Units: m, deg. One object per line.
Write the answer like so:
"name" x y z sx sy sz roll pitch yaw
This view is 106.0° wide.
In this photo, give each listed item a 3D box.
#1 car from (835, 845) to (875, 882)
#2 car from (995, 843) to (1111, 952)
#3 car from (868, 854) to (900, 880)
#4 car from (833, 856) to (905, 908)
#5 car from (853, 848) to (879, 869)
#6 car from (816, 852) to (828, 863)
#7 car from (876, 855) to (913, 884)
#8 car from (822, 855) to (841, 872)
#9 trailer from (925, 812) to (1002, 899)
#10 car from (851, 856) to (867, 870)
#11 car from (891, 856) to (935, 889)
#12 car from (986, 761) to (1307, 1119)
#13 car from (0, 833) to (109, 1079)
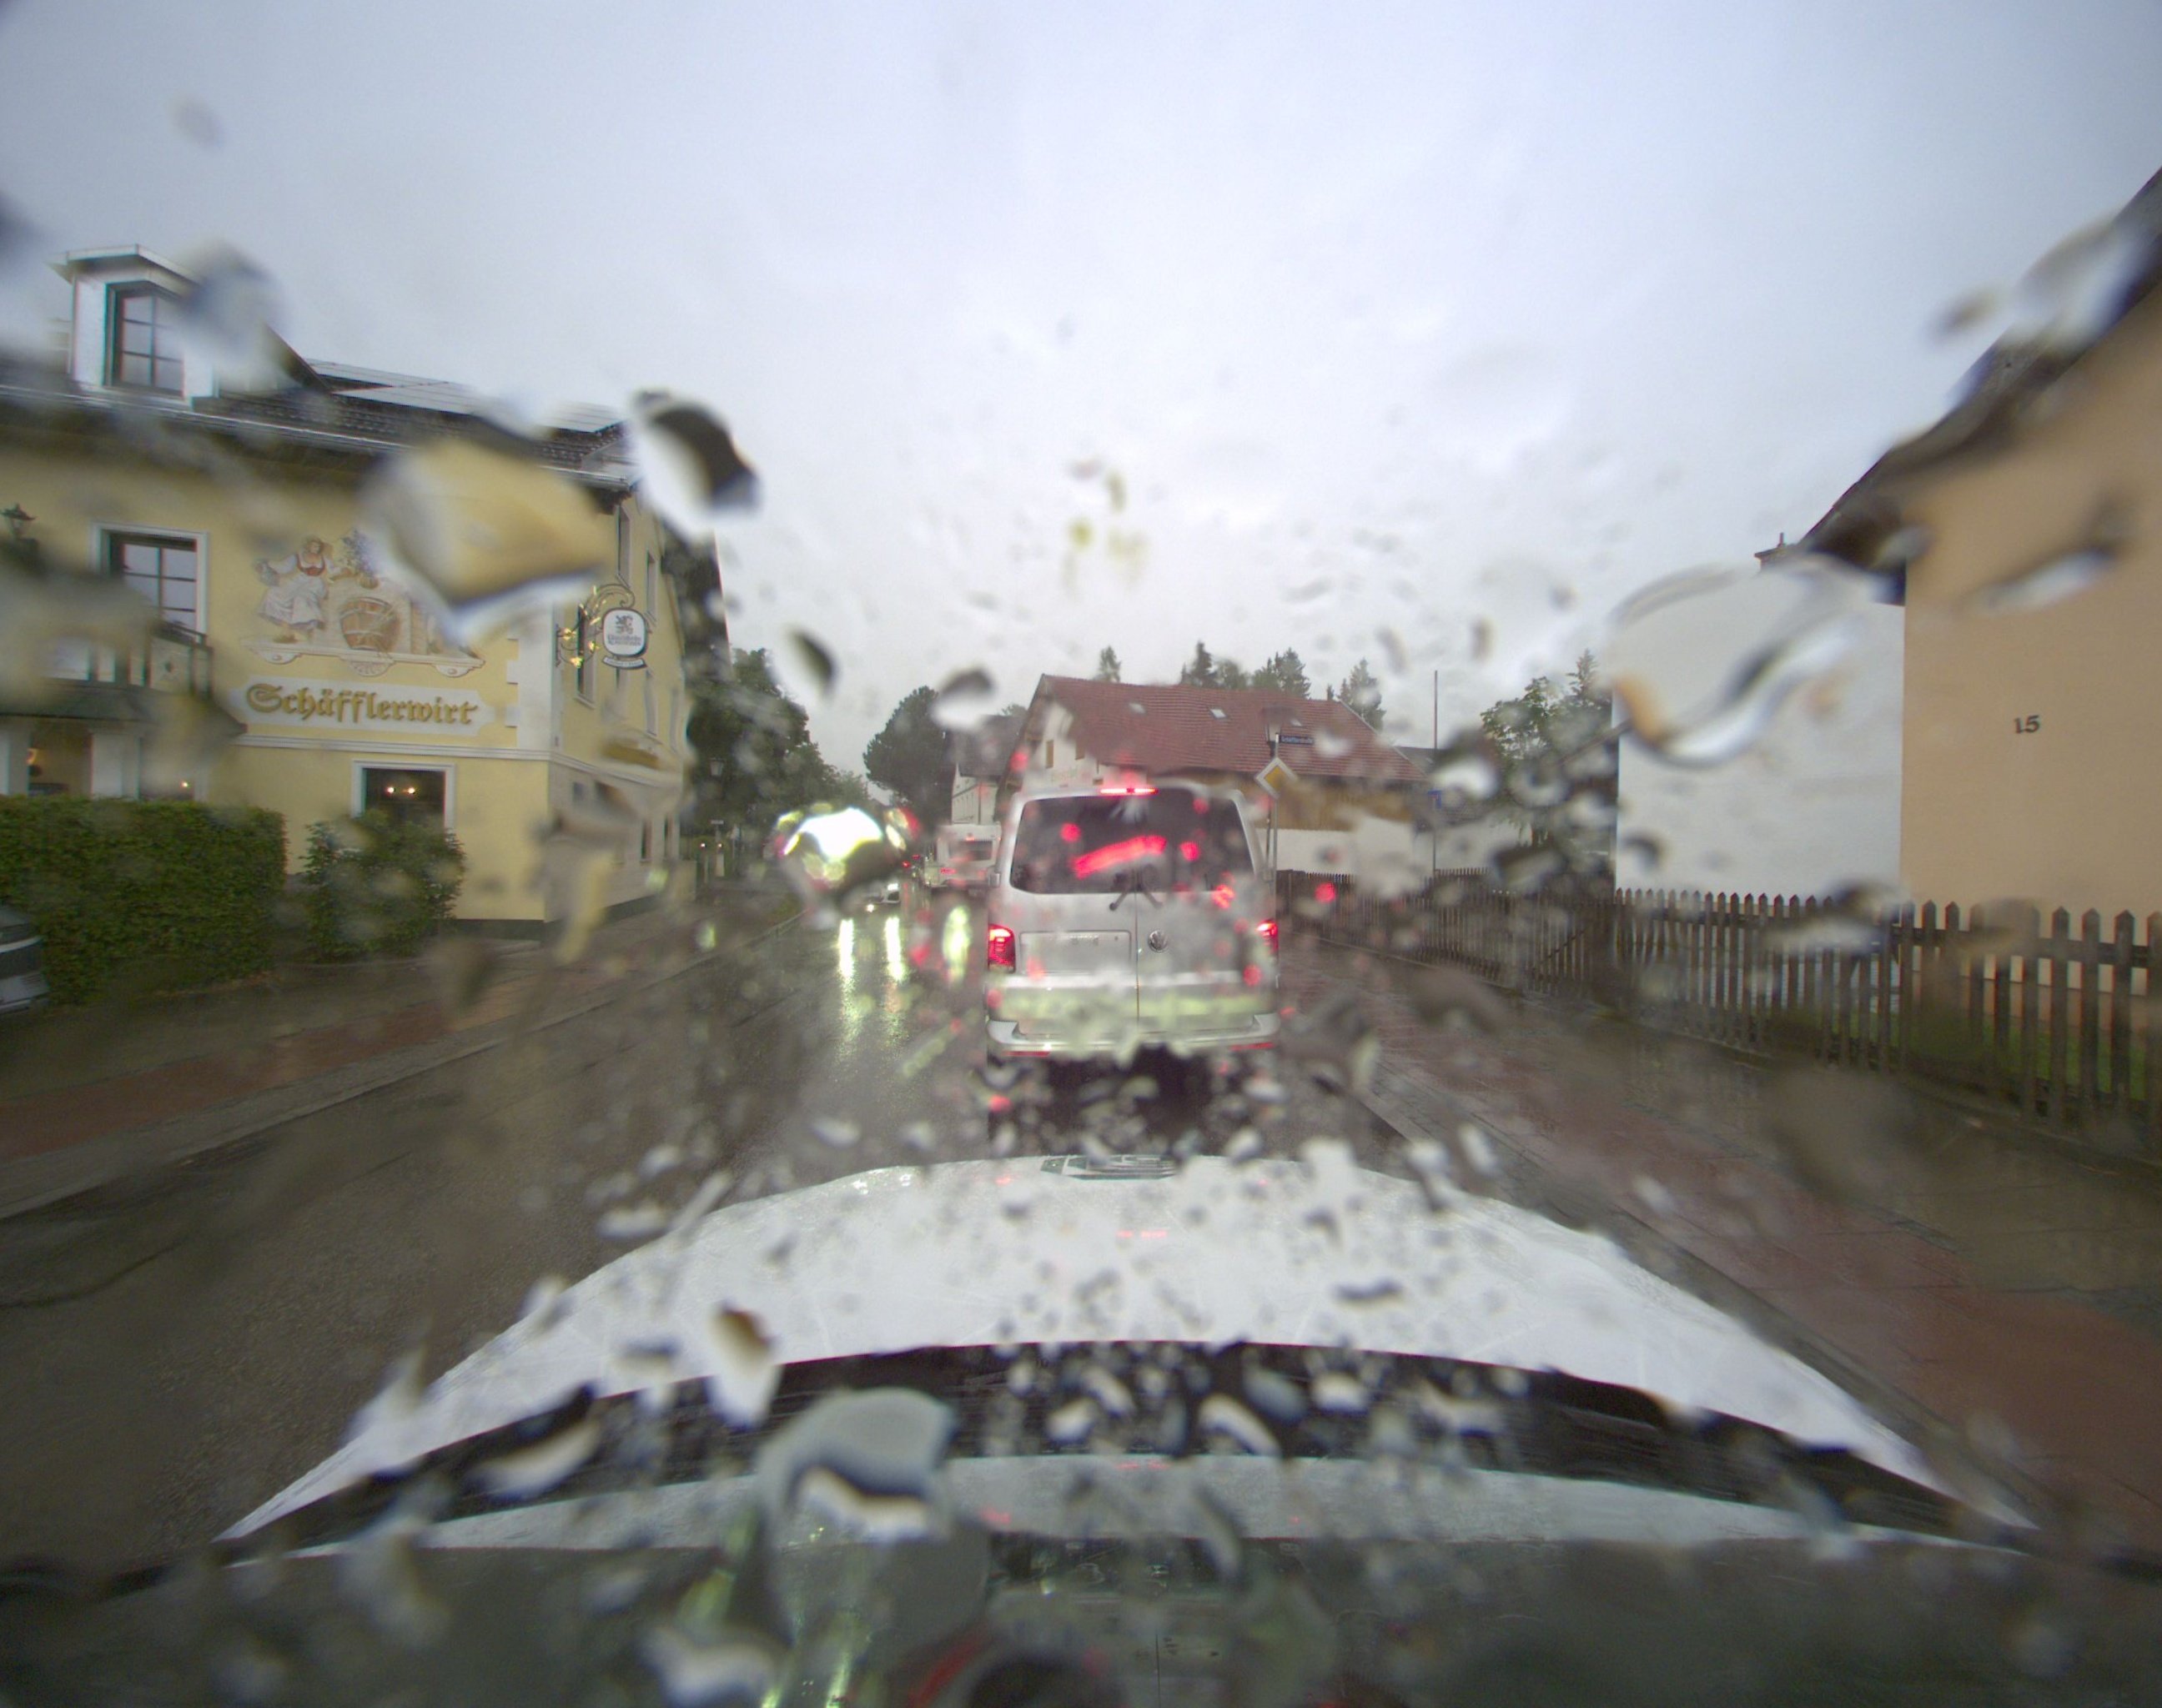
"car" -12.057 0.491 43.466 1.866 1.758 4.458 -3 1 -16
"car" -0.655 0.634 14.638 1.706 1.584 4.675 -2 1 -6
"car" -16.270 1.040 66.992 2.174 1.899 4.985 1 0 -18
"car" -6.648 0.788 25.194 1.867 1.359 4.456 -1 1 -18
"car" -21.049 0.444 79.629 2.174 1.899 4.985 1 0 -18
"car" -44.763 0.643 140.867 1.867 1.758 4.457 -3 1 -17
"car" -13.527 1.096 58.903 2.174 1.899 4.985 1 0 -18
"car" -27.838 1.088 90.773 1.867 1.758 4.457 -3 1 -17
"trailer" -4.541 0.059 30.602 2.274 2.904 6.102 0 0 -14
"car" -34.904 1.403 127.851 2.174 1.899 4.985 1 0 -18
"car" -10.534 1.113 50.804 2.174 1.899 4.985 1 0 -18
"car" 0.316 0.485 7.086 1.771 1.963 5.071 -1 0 -1
"car" -9.123 0.569 4.457 4.490 1.567 1.827 4 1 -20
